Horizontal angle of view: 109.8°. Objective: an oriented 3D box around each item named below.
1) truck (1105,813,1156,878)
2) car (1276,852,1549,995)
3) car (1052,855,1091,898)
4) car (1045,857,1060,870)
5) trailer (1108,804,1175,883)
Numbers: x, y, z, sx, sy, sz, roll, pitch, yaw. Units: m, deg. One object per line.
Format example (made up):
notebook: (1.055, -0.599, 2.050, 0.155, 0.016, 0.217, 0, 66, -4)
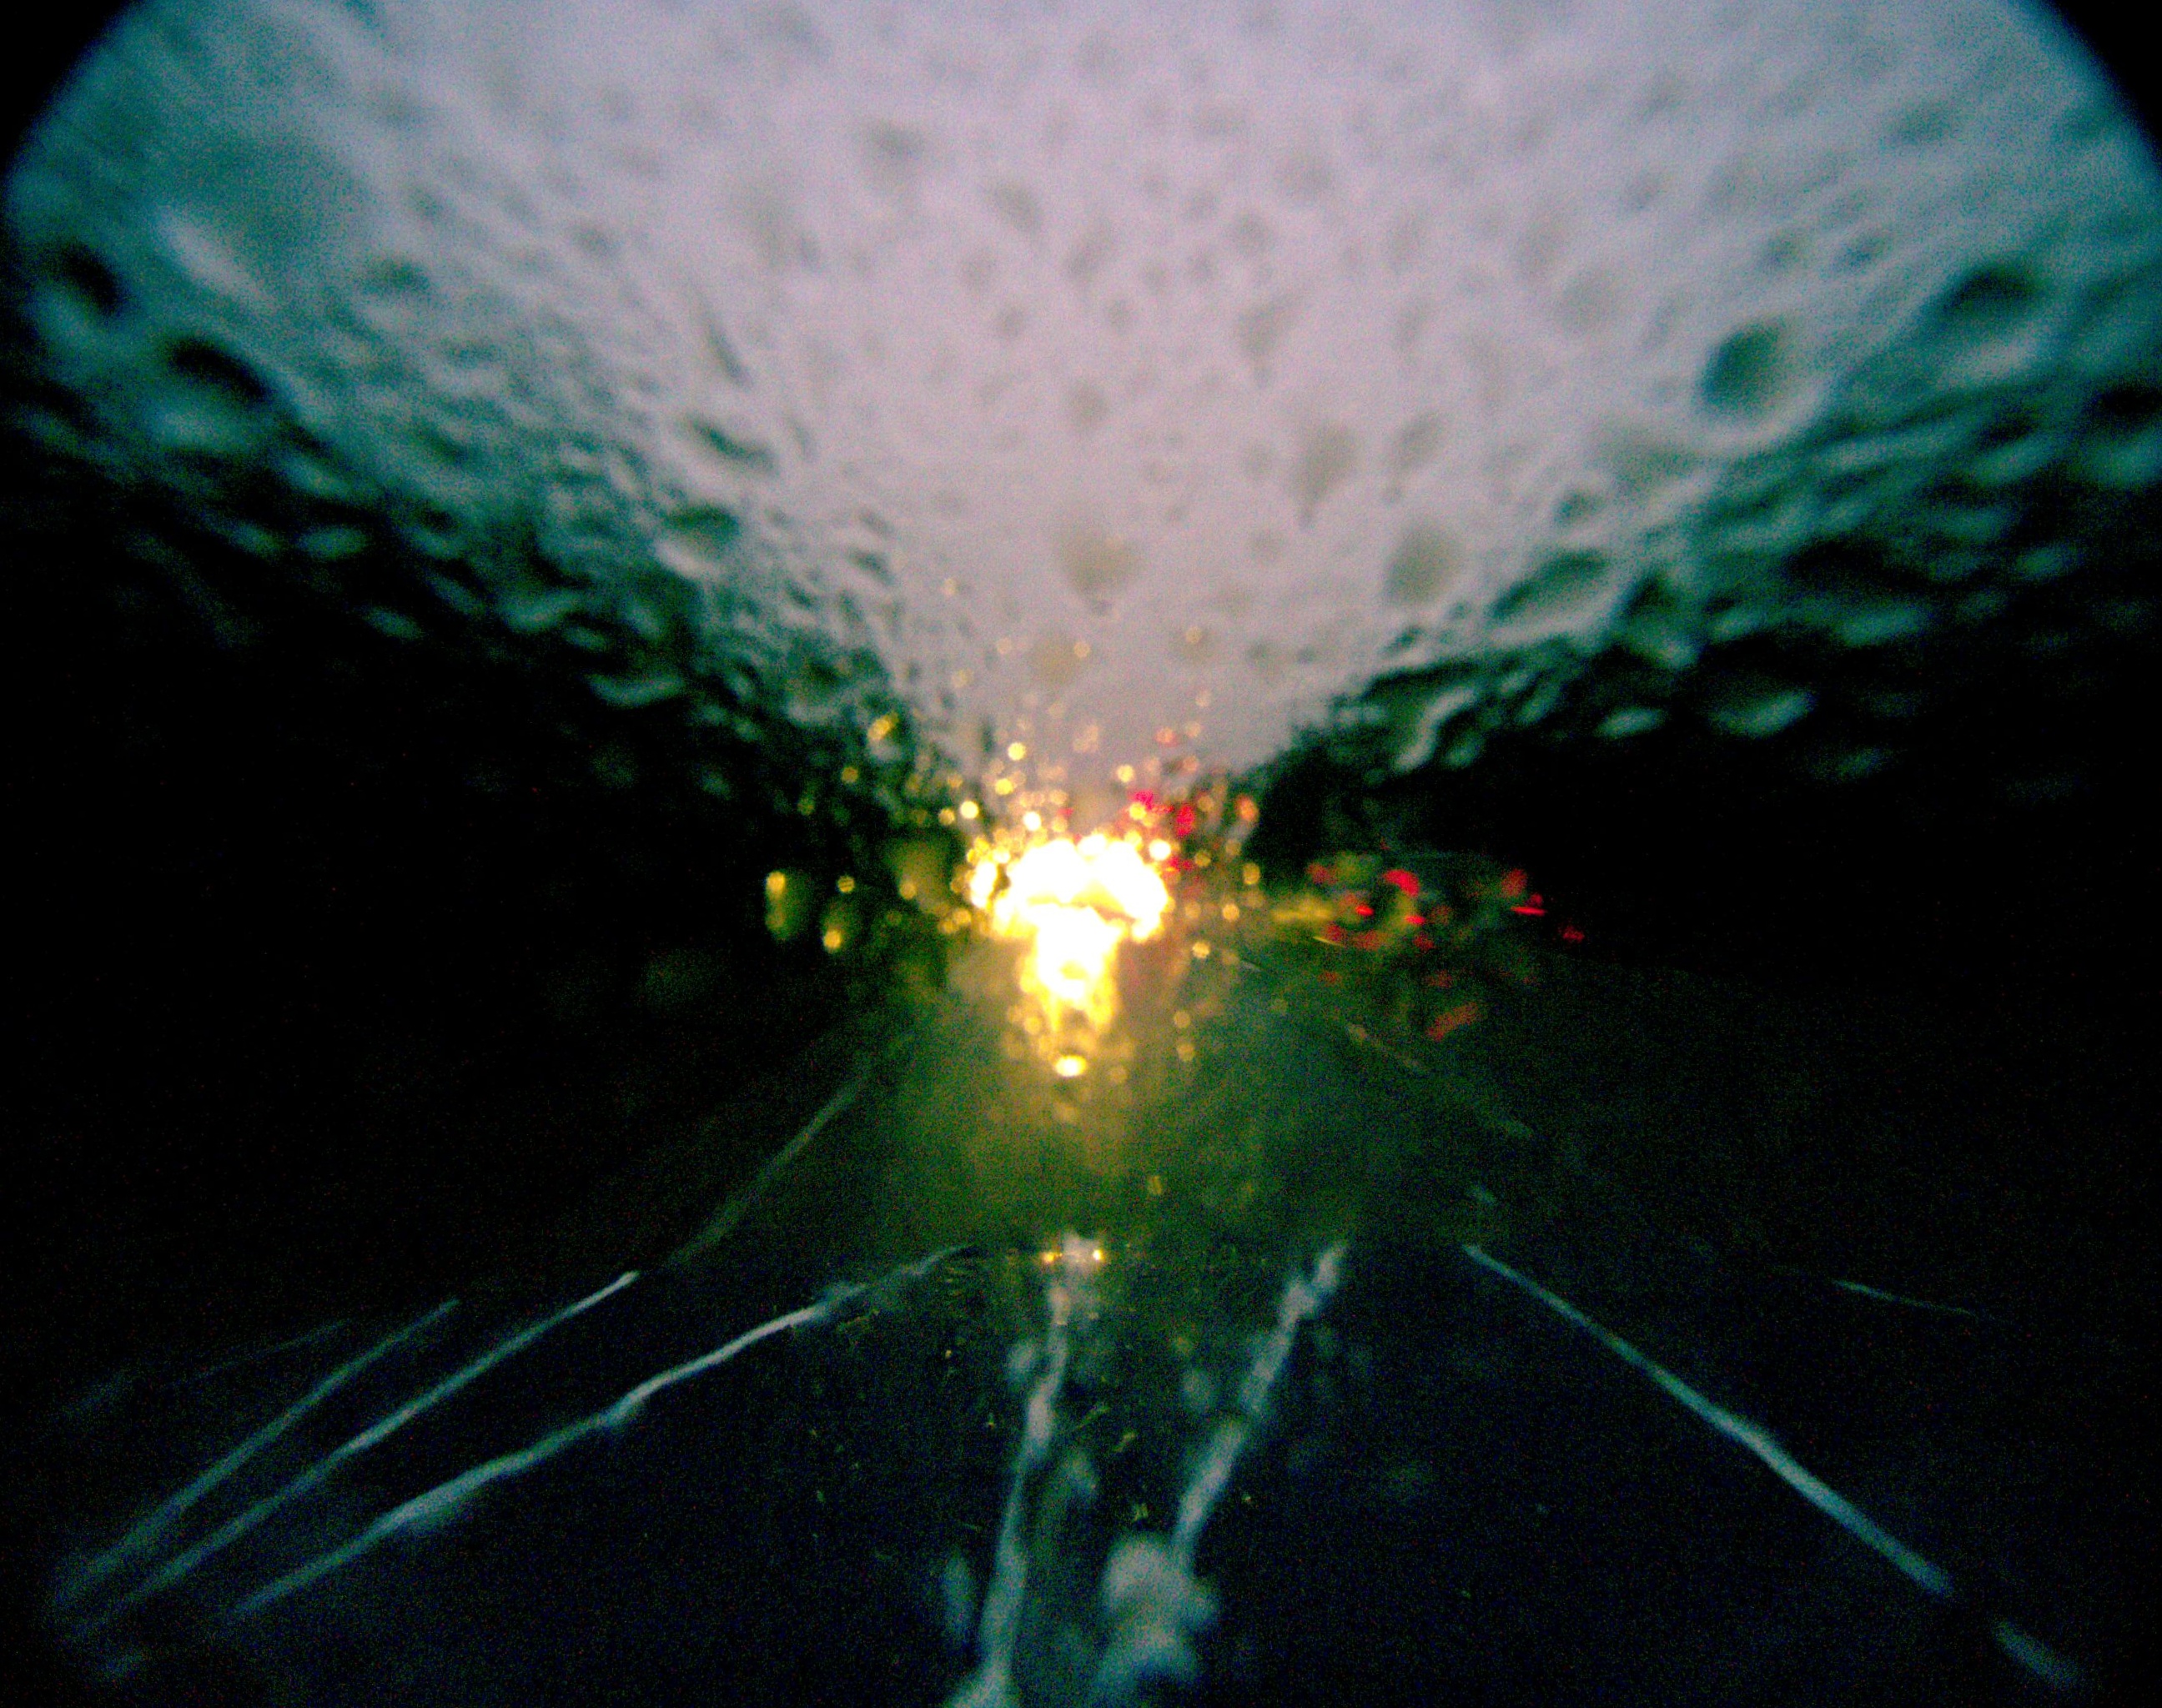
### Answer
truck: (3.279, -0.528, 52.303, 2.806, 4.102, 7.198, -1, 0, -1)
car: (4.192, 0.761, 10.533, 1.750, 1.465, 4.483, -3, 0, 0)
car: (-0.371, 0.928, 32.773, 1.573, 1.701, 4.000, -1, 0, 0)
car: (-3.955, 1.241, 105.196, 1.999, 1.752, 4.369, 0, 0, -4)
trailer: (3.413, -0.512, 46.510, 2.786, 4.065, 13.515, -1, 0, -1)
